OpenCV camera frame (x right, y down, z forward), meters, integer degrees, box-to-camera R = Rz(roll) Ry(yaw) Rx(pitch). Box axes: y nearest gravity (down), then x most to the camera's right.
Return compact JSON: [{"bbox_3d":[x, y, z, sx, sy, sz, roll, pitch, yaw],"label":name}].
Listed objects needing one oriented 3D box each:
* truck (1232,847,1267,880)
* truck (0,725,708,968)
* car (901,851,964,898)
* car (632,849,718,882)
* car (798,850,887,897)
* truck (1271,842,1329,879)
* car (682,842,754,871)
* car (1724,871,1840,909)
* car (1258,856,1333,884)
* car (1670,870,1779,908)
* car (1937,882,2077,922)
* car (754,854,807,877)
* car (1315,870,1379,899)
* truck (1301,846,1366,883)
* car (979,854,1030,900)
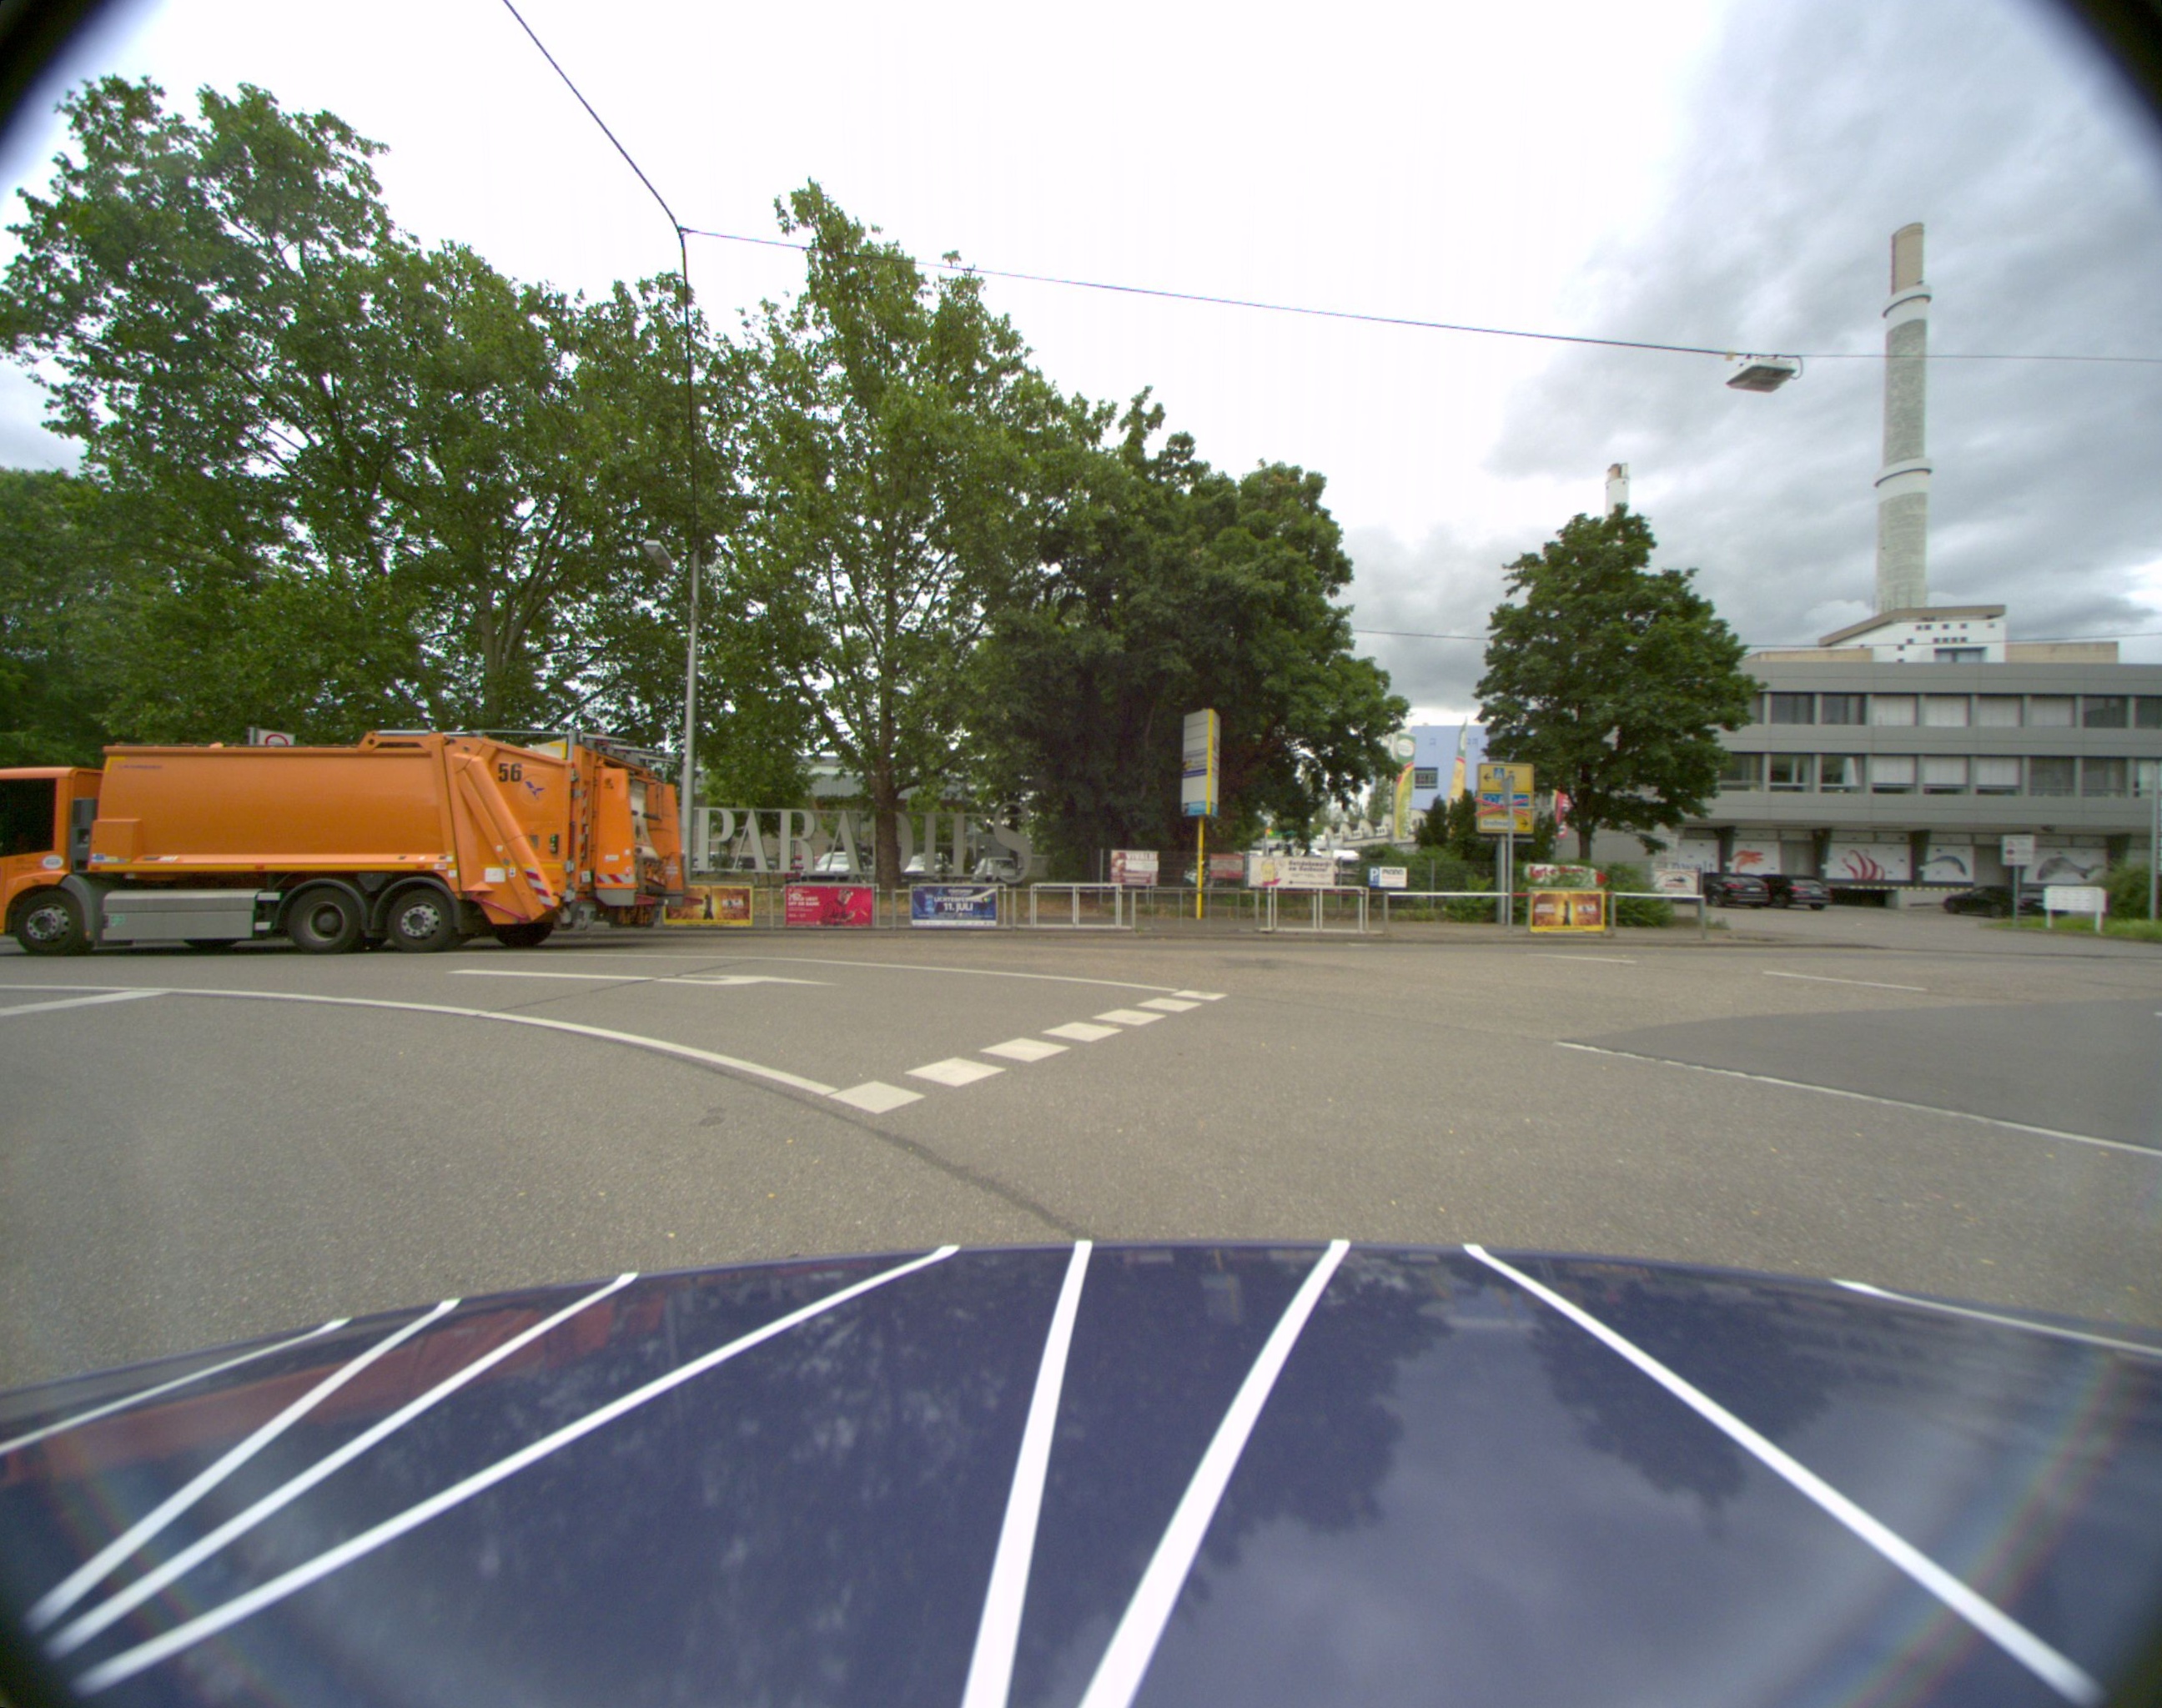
[{"bbox_3d":[22.045,1.225,100.114,2.996,4.141,9.192,1,-1,4],"label":"truck"},{"bbox_3d":[-12.081,-0.095,12.492,10.416,3.505,2.798,0,-1,-2],"label":"truck"},{"bbox_3d":[-5.528,0.777,28.697,1.591,1.603,4.318,1,-2,-1],"label":"car"},{"bbox_3d":[-21.112,0.606,39.716,1.999,1.552,4.641,1,-1,-1],"label":"car"},{"bbox_3d":[-8.946,0.748,28.929,1.883,1.603,4.527,1,-2,1],"label":"car"},{"bbox_3d":[25.914,0.831,90.902,2.849,3.909,15.734,2,-1,2],"label":"truck"},{"bbox_3d":[-21.222,0.172,44.605,1.999,1.552,4.641,1,-1,-1],"label":"car"},{"bbox_3d":[34.497,1.734,37.555,1.837,1.608,4.425,2,0,5],"label":"car"},{"bbox_3d":[22.356,1.642,79.482,7.146,2.716,2.245,2,-1,4],"label":"car"},{"bbox_3d":[31.513,1.651,37.392,1.836,1.608,4.467,2,0,6],"label":"car"},{"bbox_3d":[42.524,2.140,35.085,2.045,1.437,4.836,1,1,23],"label":"car"},{"bbox_3d":[-21.850,0.836,55.441,1.999,1.552,4.641,1,-1,-1],"label":"car"},{"bbox_3d":[12.386,1.398,35.568,1.708,1.241,3.702,2,-1,1],"label":"car"},{"bbox_3d":[29.861,1.297,90.989,2.849,3.909,15.733,2,-1,2],"label":"truck"},{"bbox_3d":[-2.823,0.869,28.751,1.591,1.603,4.001,1,-2,-1],"label":"car"}]
